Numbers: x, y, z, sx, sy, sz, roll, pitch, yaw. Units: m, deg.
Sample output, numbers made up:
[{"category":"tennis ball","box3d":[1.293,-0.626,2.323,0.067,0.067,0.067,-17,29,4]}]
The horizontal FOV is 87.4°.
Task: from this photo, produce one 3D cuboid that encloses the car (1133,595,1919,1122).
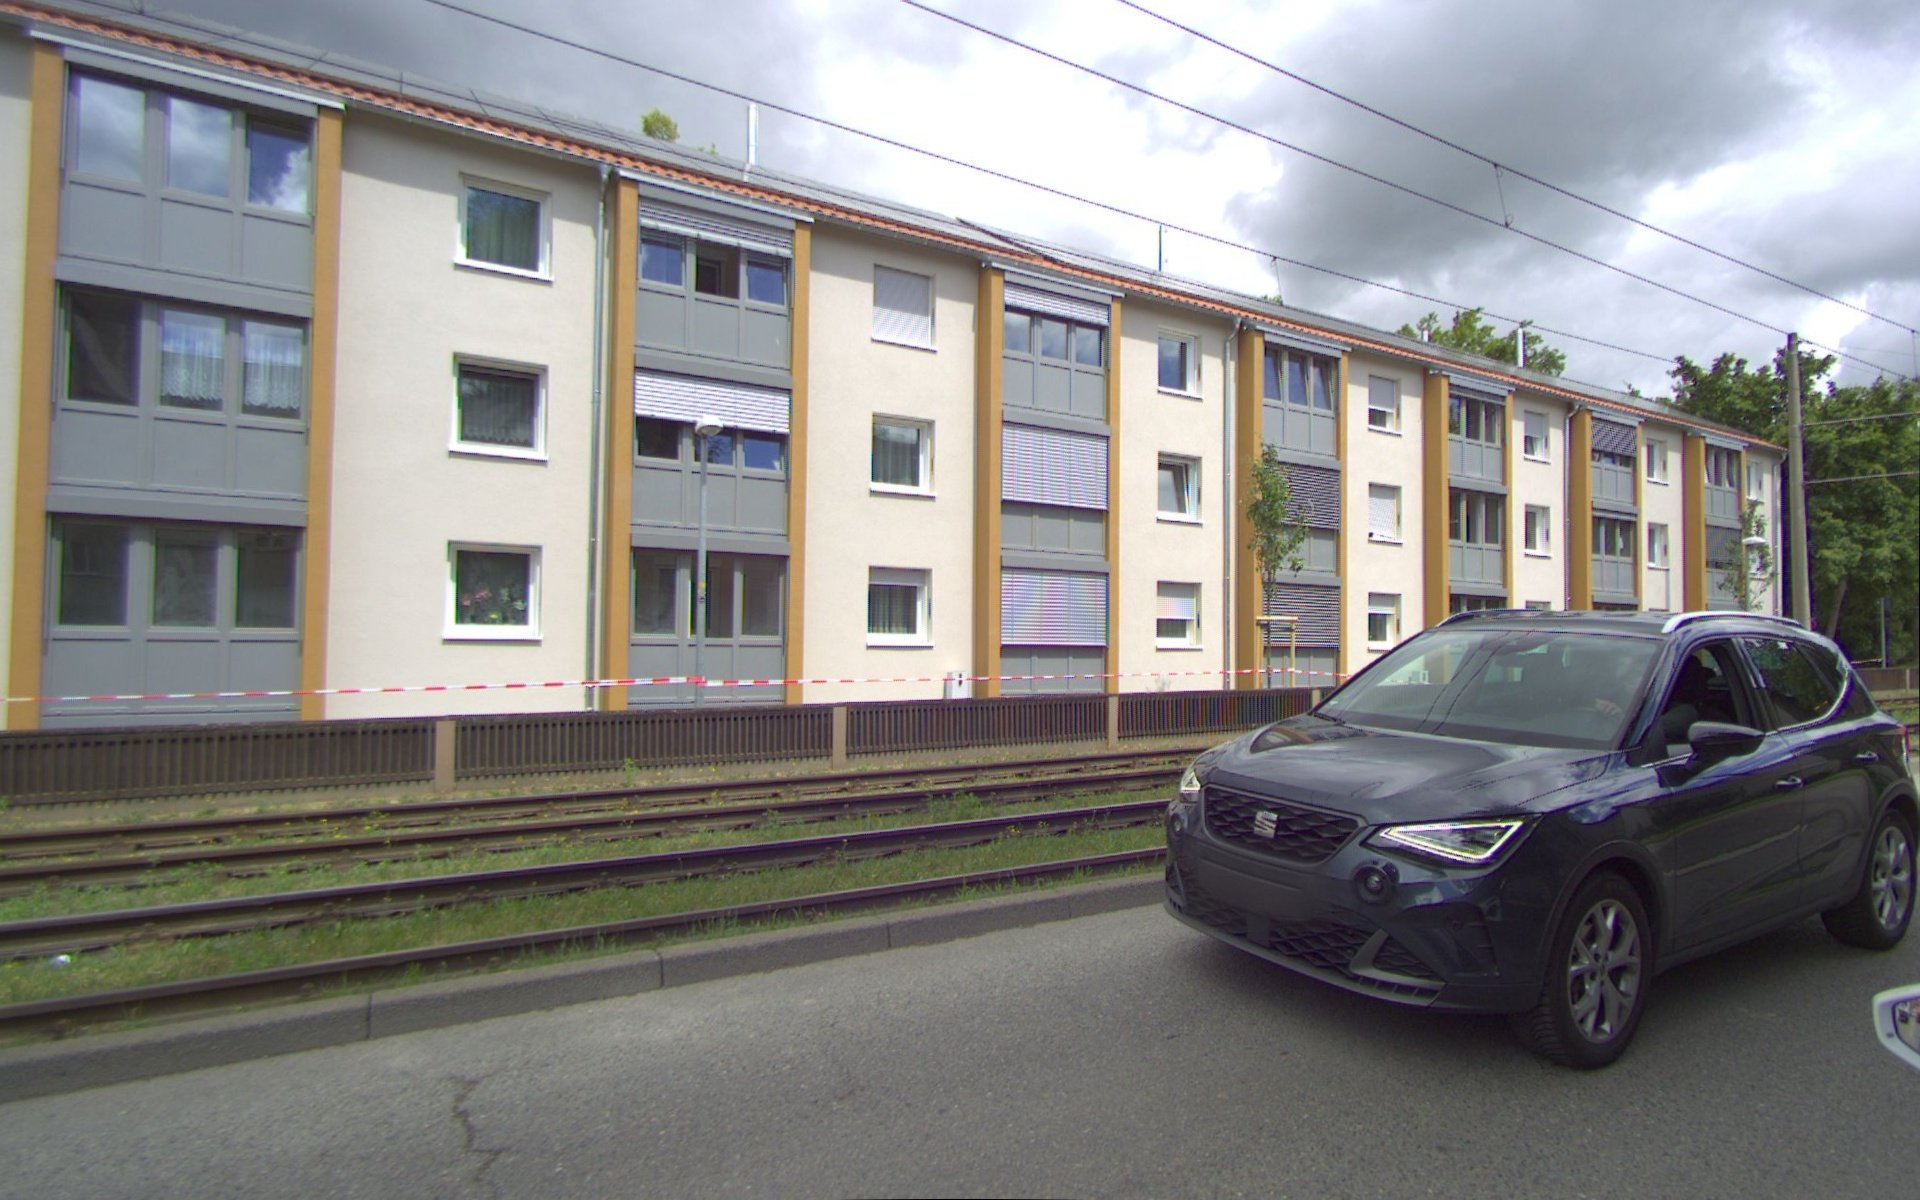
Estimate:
[{"category":"car","box3d":[2.809,0.800,4.634,3.820,1.540,1.642,1,-1,-31]}]
